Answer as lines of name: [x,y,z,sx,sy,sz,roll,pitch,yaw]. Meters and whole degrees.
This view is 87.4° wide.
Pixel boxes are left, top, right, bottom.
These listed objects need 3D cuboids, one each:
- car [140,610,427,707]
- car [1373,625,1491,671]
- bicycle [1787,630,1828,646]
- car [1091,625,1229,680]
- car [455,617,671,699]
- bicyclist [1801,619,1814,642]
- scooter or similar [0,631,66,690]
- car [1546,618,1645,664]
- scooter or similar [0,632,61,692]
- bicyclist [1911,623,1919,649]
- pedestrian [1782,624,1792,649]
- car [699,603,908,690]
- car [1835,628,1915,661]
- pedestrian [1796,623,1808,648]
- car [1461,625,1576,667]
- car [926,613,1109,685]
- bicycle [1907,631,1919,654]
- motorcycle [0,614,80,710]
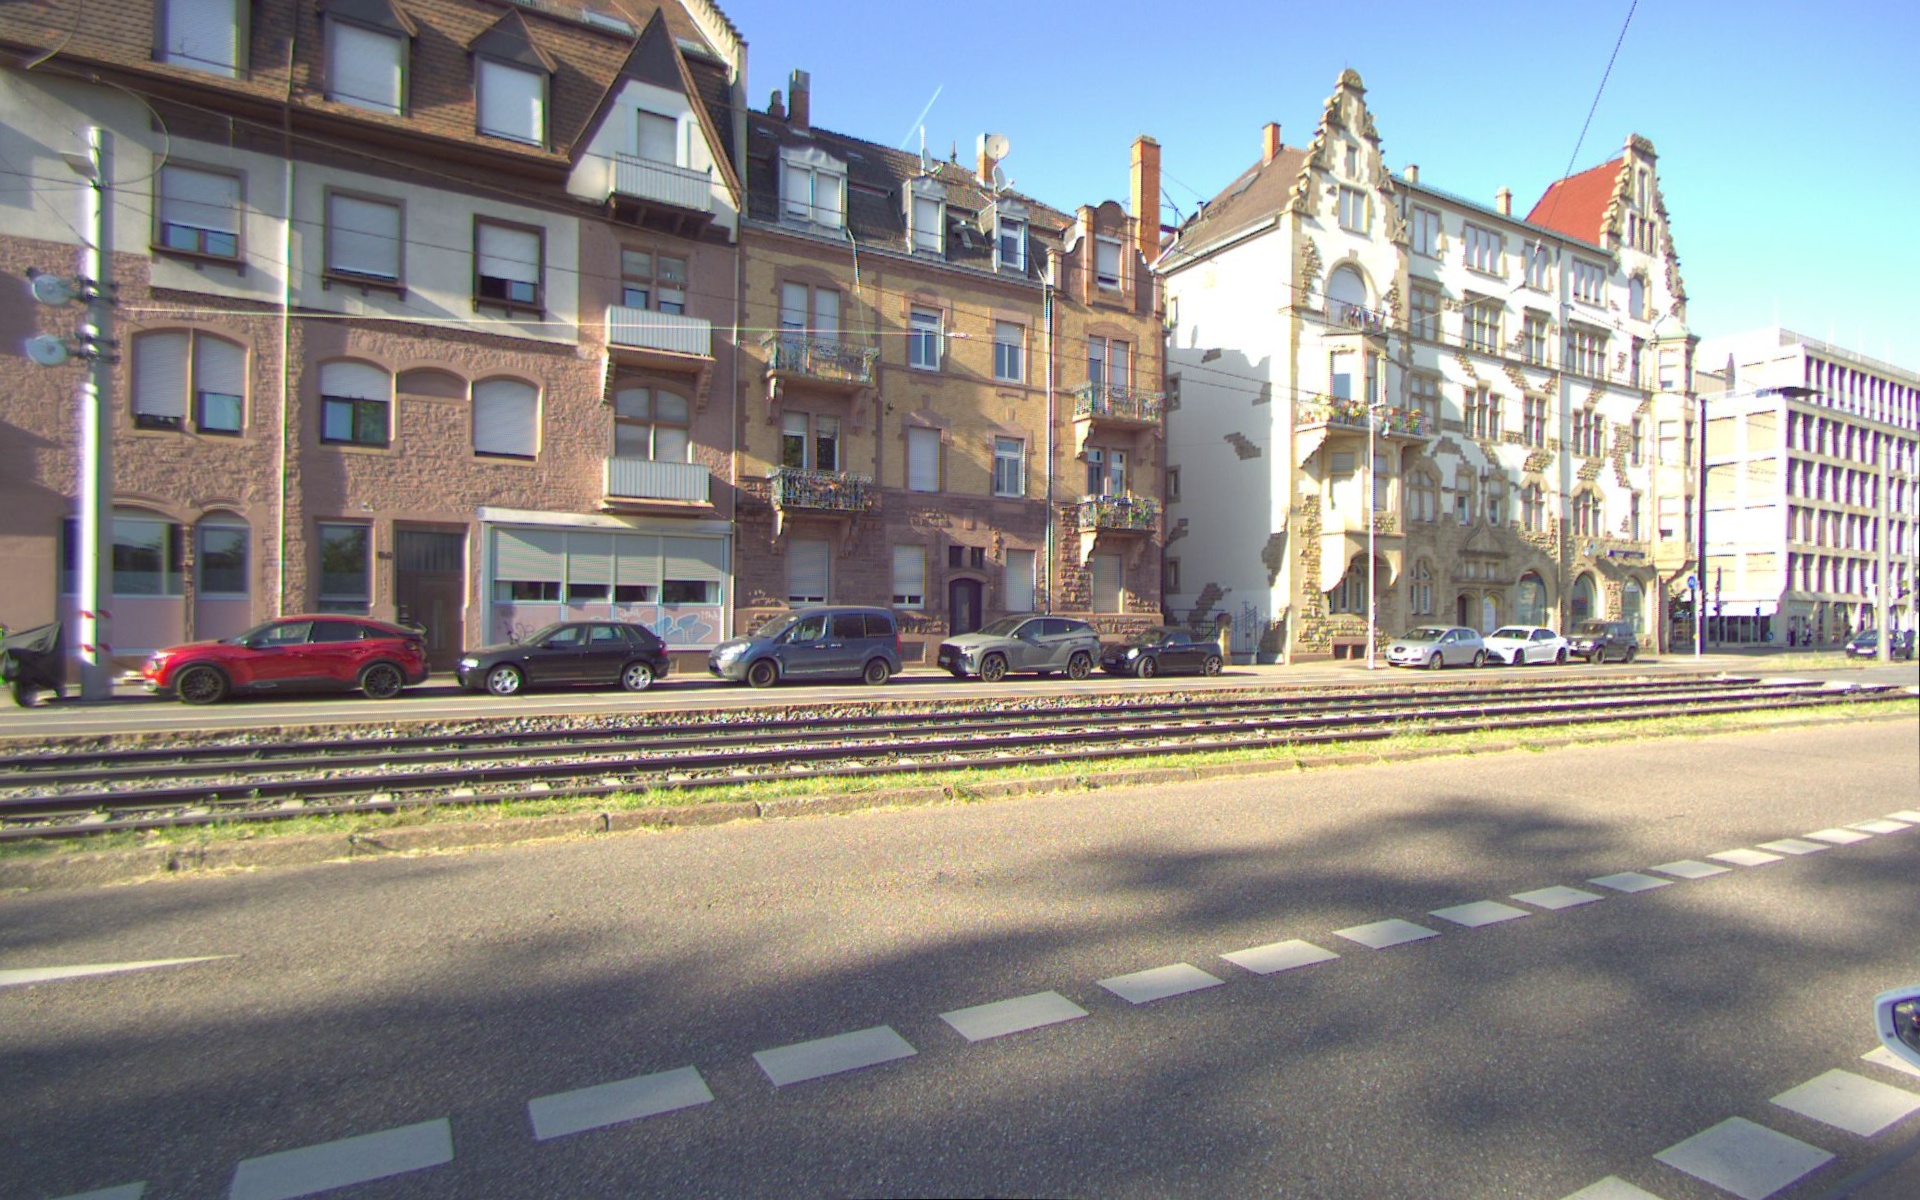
car: [-12.149,1.002,18.382,4.162,1.519,1.846,1,2,-31]
car: [16.356,1.619,34.738,4.176,1.450,1.700,1,1,-32]
bicycle: [65.424,2.947,77.596,2.347,1.231,0.576,-1,-1,31]
car: [5.673,1.453,28.378,3.683,1.373,1.614,1,2,-31]
car: [-8.051,1.118,20.425,3.882,1.457,1.686,1,2,-31]
bicyclist: [65.460,2.354,77.575,0.632,1.708,0.576,-1,-1,30]
scooter or similar: [-17.566,1.138,18.878,1.108,1.083,0.203,1,0,-30]
car: [25.644,1.633,40.508,4.169,1.698,1.708,1,1,-32]
scooter or similar: [-17.434,1.141,18.627,1.108,1.083,0.203,1,0,-30]
bicyclist: [58.404,2.204,61.032,0.775,1.583,0.682,1,-1,-28]
pedestrian: [63.099,2.769,76.675,0.464,1.868,0.443,0,-1,23]
car: [-3.584,1.018,23.053,4.361,1.782,1.878,1,2,-28]
car: [43.354,2.088,47.594,4.121,1.476,1.810,1,-2,-33]
pedestrian: [63.858,2.686,76.170,0.522,1.868,0.443,0,-1,23]
car: [21.042,1.698,37.793,4.603,1.442,1.708,1,1,-32]
car: [1.508,1.217,26.032,4.450,1.644,1.846,1,2,-31]
bicycle: [58.448,2.565,61.057,1.923,1.400,0.682,1,-2,-29]
motorcycle: [-15.295,0.992,16.673,0.621,1.441,1.847,0,1,-29]
